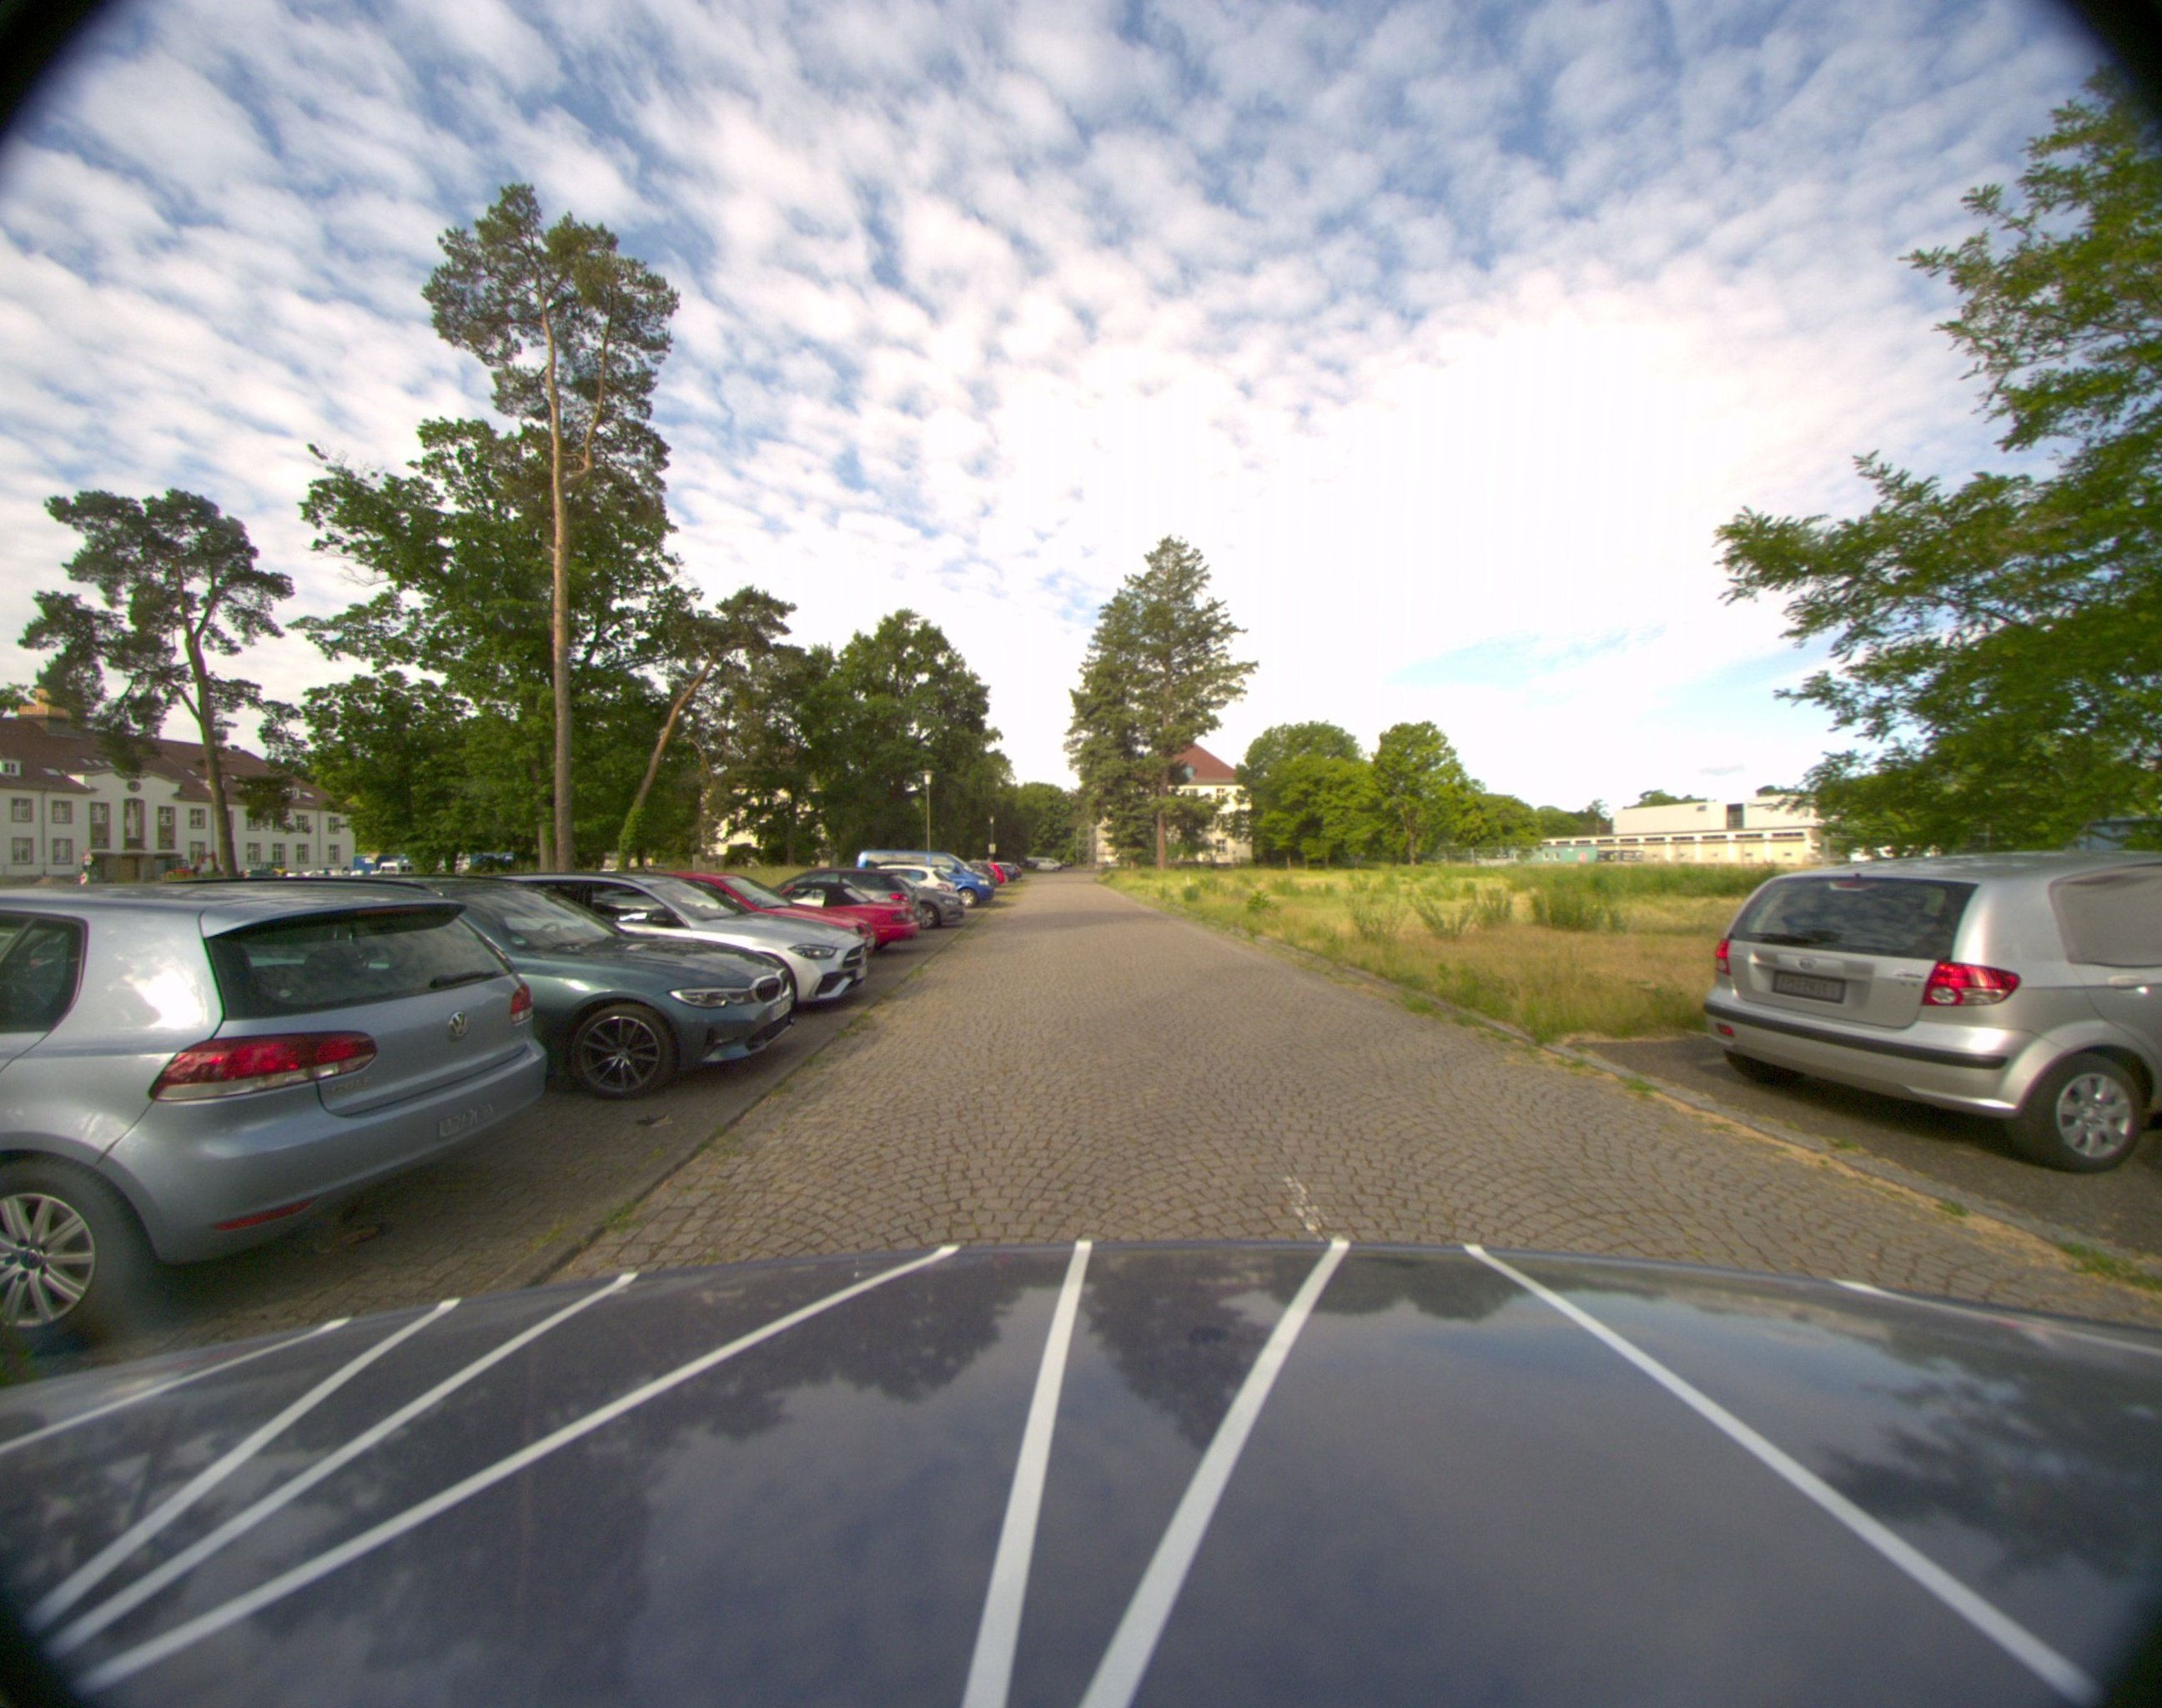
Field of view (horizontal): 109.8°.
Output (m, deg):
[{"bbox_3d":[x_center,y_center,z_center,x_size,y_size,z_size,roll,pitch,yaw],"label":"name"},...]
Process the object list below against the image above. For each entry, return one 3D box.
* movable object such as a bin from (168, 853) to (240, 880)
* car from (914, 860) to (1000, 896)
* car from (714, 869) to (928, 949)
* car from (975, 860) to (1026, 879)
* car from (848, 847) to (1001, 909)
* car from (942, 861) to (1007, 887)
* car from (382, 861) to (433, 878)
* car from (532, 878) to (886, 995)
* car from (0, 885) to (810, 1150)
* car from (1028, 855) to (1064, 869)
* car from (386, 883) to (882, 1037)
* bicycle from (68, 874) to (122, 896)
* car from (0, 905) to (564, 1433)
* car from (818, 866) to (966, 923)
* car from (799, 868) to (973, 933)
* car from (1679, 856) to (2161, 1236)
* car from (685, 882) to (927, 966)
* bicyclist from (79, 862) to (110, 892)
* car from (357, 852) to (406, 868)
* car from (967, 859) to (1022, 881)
[{"bbox_3d":[-93.516,1.312,81.140,2.000,2.751,5.200,0,0,-7],"label":"movable object such as a bin"},{"bbox_3d":[-5.717,1.090,35.446,3.839,1.592,1.580,0,0,-6],"label":"car"},{"bbox_3d":[-5.207,1.079,15.582,3.838,1.494,1.604,0,0,-2],"label":"car"},{"bbox_3d":[-6.408,1.247,60.994,3.837,1.520,1.674,0,0,2],"label":"car"},{"bbox_3d":[-5.412,0.820,26.809,4.955,2.010,2.060,1,0,-1],"label":"car"},{"bbox_3d":[-6.371,1.171,45.776,3.839,1.516,1.580,0,0,-6],"label":"car"},{"bbox_3d":[-71.266,1.624,80.451,1.847,1.674,3.937,1,0,1],"label":"car"},{"bbox_3d":[-5.033,1.096,10.727,4.118,1.415,1.719,-1,0,-2],"label":"car"},{"bbox_3d":[-4.582,1.027,5.622,4.526,1.474,1.807,0,0,-5],"label":"car"},{"bbox_3d":[-5.016,1.194,109.801,5.131,2.002,1.804,0,0,-4],"label":"car"},{"bbox_3d":[-4.559,1.063,8.314,4.338,1.420,1.766,0,0,-3],"label":"car"},{"bbox_3d":[-59.462,1.858,45.853,0.638,1.201,1.981,0,0,1],"label":"bicycle"},{"bbox_3d":[-4.558,1.012,2.977,3.854,1.462,1.641,-1,0,-5],"label":"car"},{"bbox_3d":[-5.230,1.118,21.388,3.762,1.490,1.581,0,0,0],"label":"car"},{"bbox_3d":[-4.636,1.103,18.464,3.781,1.457,1.643,0,0,0],"label":"car"},{"bbox_3d":[5.784,0.844,4.294,3.587,1.467,1.646,-3,1,-5],"label":"car"},{"bbox_3d":[-4.569,1.151,13.001,3.555,1.279,1.608,0,-1,-1],"label":"car"},{"bbox_3d":[-59.461,1.376,45.790,0.668,1.724,0.844,-3,1,1],"label":"bicyclist"},{"bbox_3d":[-85.384,0.724,92.834,2.218,2.002,4.001,0,0,3],"label":"car"},{"bbox_3d":[-6.349,1.166,56.249,3.837,1.609,1.581,0,0,2],"label":"car"}]
